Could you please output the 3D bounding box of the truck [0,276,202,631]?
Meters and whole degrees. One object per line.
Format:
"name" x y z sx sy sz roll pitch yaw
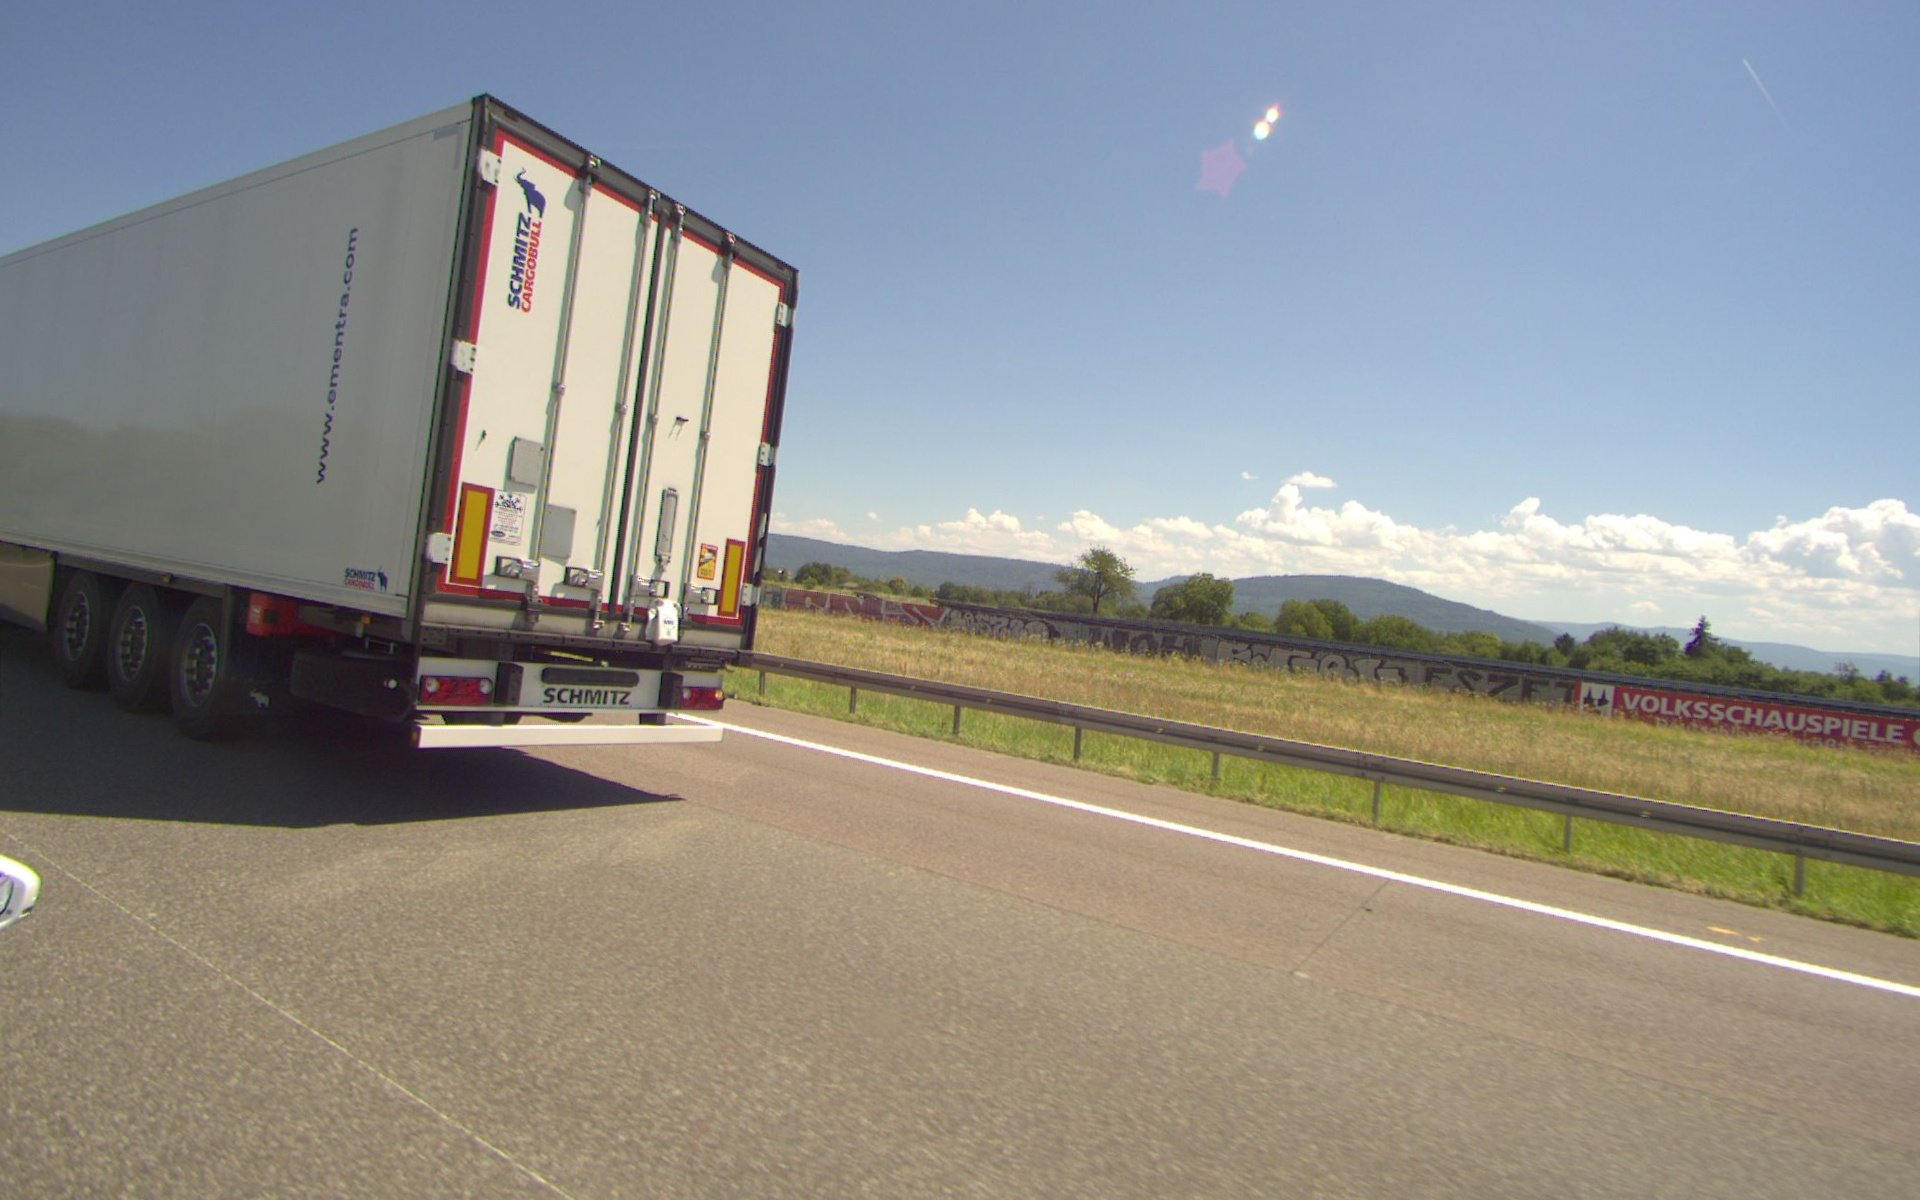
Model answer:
"truck" -13.934 -2.067 14.555 4.895 4.306 2.912 6 -1 34

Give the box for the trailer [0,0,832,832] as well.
"trailer" -7.738 -1.597 10.375 13.761 4.711 2.905 6 -1 34
